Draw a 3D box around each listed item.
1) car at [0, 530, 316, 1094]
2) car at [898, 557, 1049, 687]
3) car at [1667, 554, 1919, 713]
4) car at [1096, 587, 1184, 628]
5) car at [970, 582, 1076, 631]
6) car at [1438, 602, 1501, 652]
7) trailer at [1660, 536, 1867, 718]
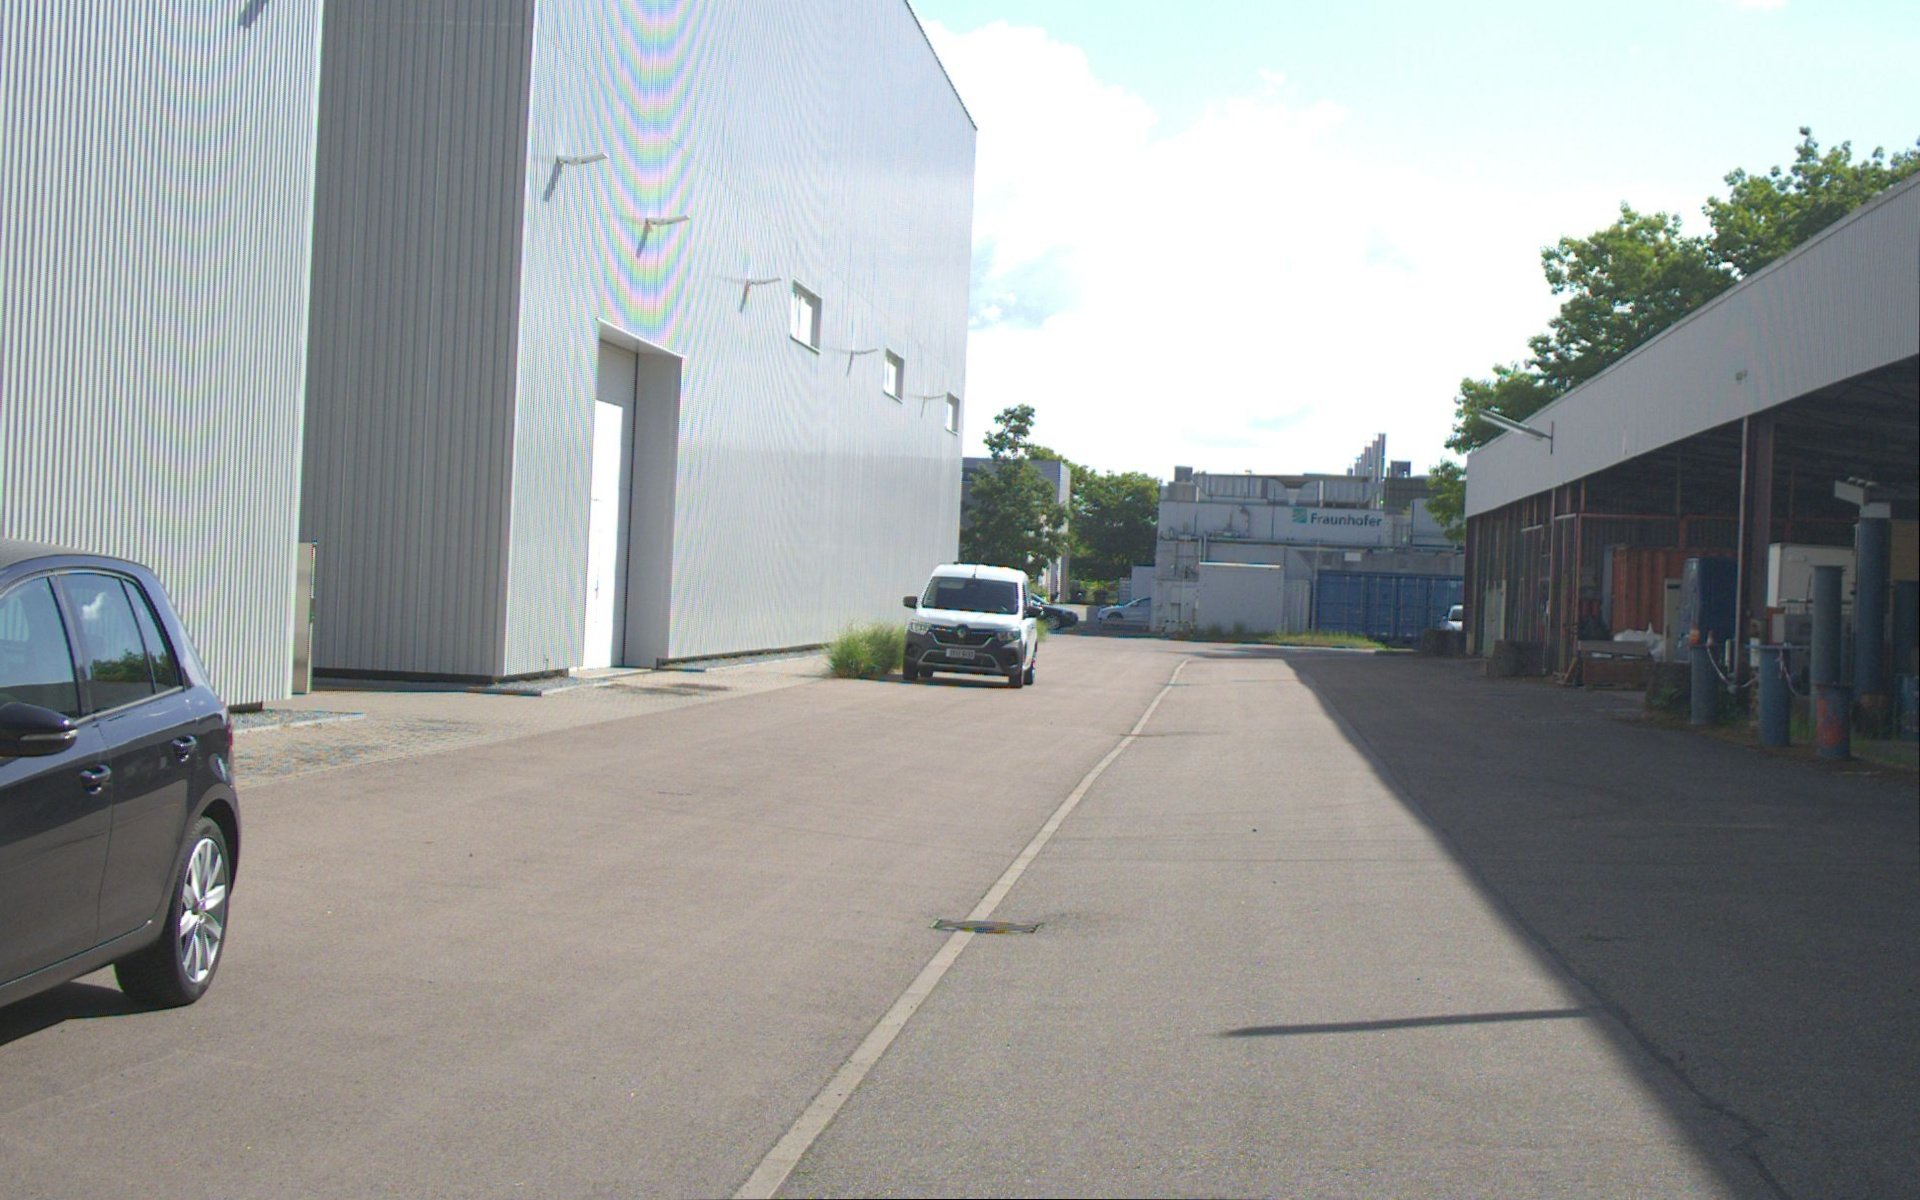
[{"bbox_3d":[-3.357,0.520,9.953,1.755,1.495,4.293,4,0,5],"label":"car"},{"bbox_3d":[0.248,0.315,52.568,1.819,1.781,4.404,4,1,5],"label":"car"},{"bbox_3d":[14.080,0.577,56.685,4.434,2.302,1.915,4,-2,6],"label":"car"},{"bbox_3d":[8.510,0.343,162.345,3.987,1.592,1.848,4,-2,4],"label":"car"},{"bbox_3d":[2.483,0.266,134.895,3.987,1.592,1.741,4,-2,4],"label":"car"},{"bbox_3d":[17.925,0.937,121.058,1.963,1.559,4.058,4,1,7],"label":"car"},{"bbox_3d":[11.220,0.384,48.120,2.524,2.390,1.726,3,-1,6],"label":"trailer"}]
